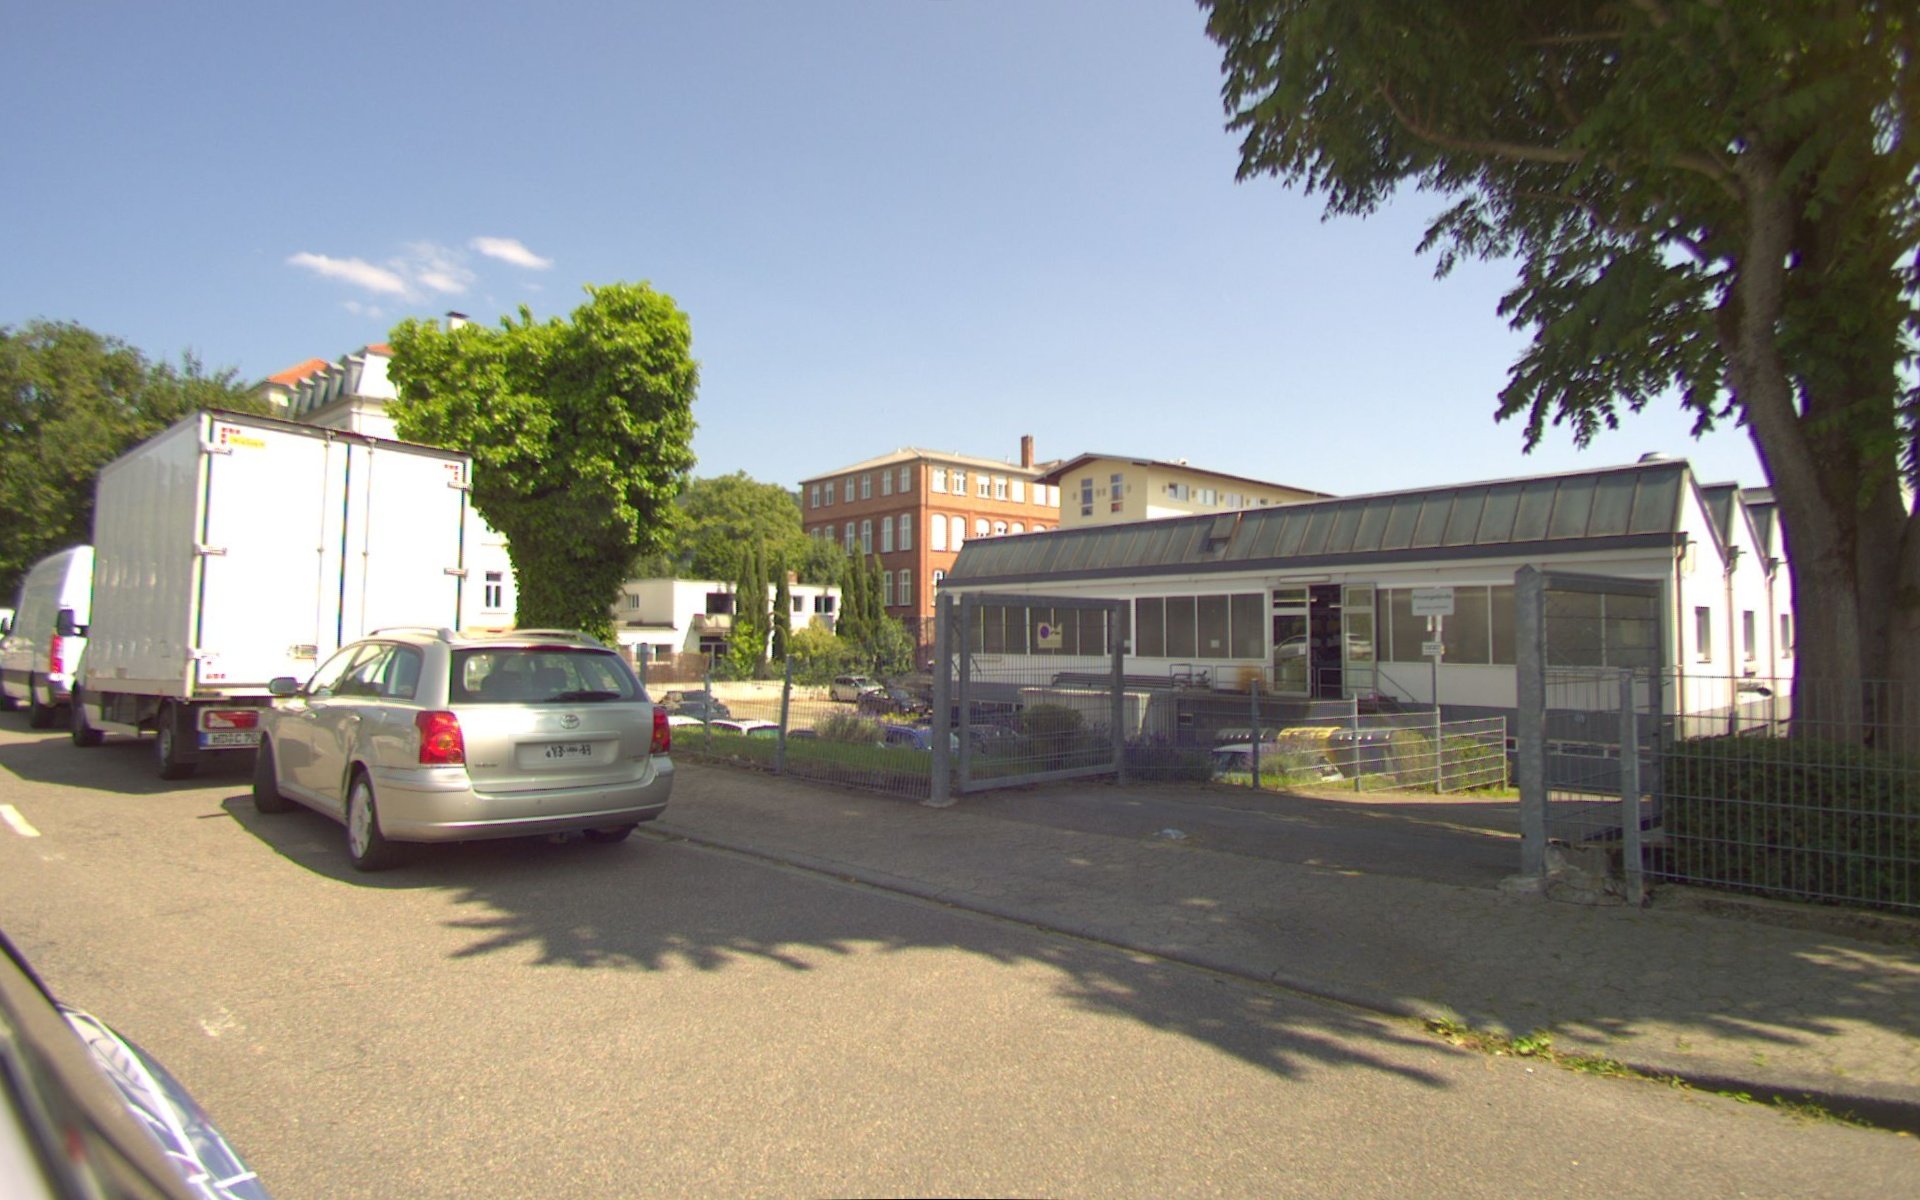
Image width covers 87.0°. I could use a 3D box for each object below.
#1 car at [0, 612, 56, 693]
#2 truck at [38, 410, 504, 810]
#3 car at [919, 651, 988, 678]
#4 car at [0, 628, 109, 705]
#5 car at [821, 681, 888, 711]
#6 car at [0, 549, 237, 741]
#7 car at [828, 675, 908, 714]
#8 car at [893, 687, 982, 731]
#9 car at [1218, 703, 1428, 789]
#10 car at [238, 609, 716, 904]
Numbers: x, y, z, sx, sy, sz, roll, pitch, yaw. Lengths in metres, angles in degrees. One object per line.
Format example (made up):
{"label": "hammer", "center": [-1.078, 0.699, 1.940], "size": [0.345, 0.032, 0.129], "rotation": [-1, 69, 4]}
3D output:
{"label": "car", "center": [-26.172, 1.358, 27.333], "size": [5.054, 2.029, 1.950], "rotation": [-1, -4, 41]}
{"label": "truck", "center": [-8.395, 0.156, 11.915], "size": [7.125, 3.392, 2.657], "rotation": [-1, -3, 40]}
{"label": "car", "center": [-0.449, 4.525, 71.361], "size": [4.529, 1.690, 2.120], "rotation": [2, -1, -39]}
{"label": "car", "center": [-20.732, 1.432, 22.648], "size": [4.396, 1.555, 1.697], "rotation": [-1, -4, 39]}
{"label": "car", "center": [-6.615, 5.973, 63.106], "size": [1.794, 1.690, 4.609], "rotation": [5, -5, -40]}
{"label": "car", "center": [-14.372, 0.699, 16.892], "size": [6.917, 2.616, 2.145], "rotation": [-1, -3, 41]}
{"label": "car", "center": [-4.722, 4.769, 51.623], "size": [1.969, 1.697, 4.005], "rotation": [4, -3, -42]}
{"label": "car", "center": [-1.242, 5.721, 53.612], "size": [1.969, 2.037, 4.933], "rotation": [5, -5, -40]}
{"label": "car", "center": [8.094, 3.194, 22.776], "size": [4.002, 1.453, 1.971], "rotation": [-2, -3, 45]}
{"label": "car", "center": [-3.746, 0.911, 7.432], "size": [4.311, 1.533, 1.722], "rotation": [-2, -4, 44]}
